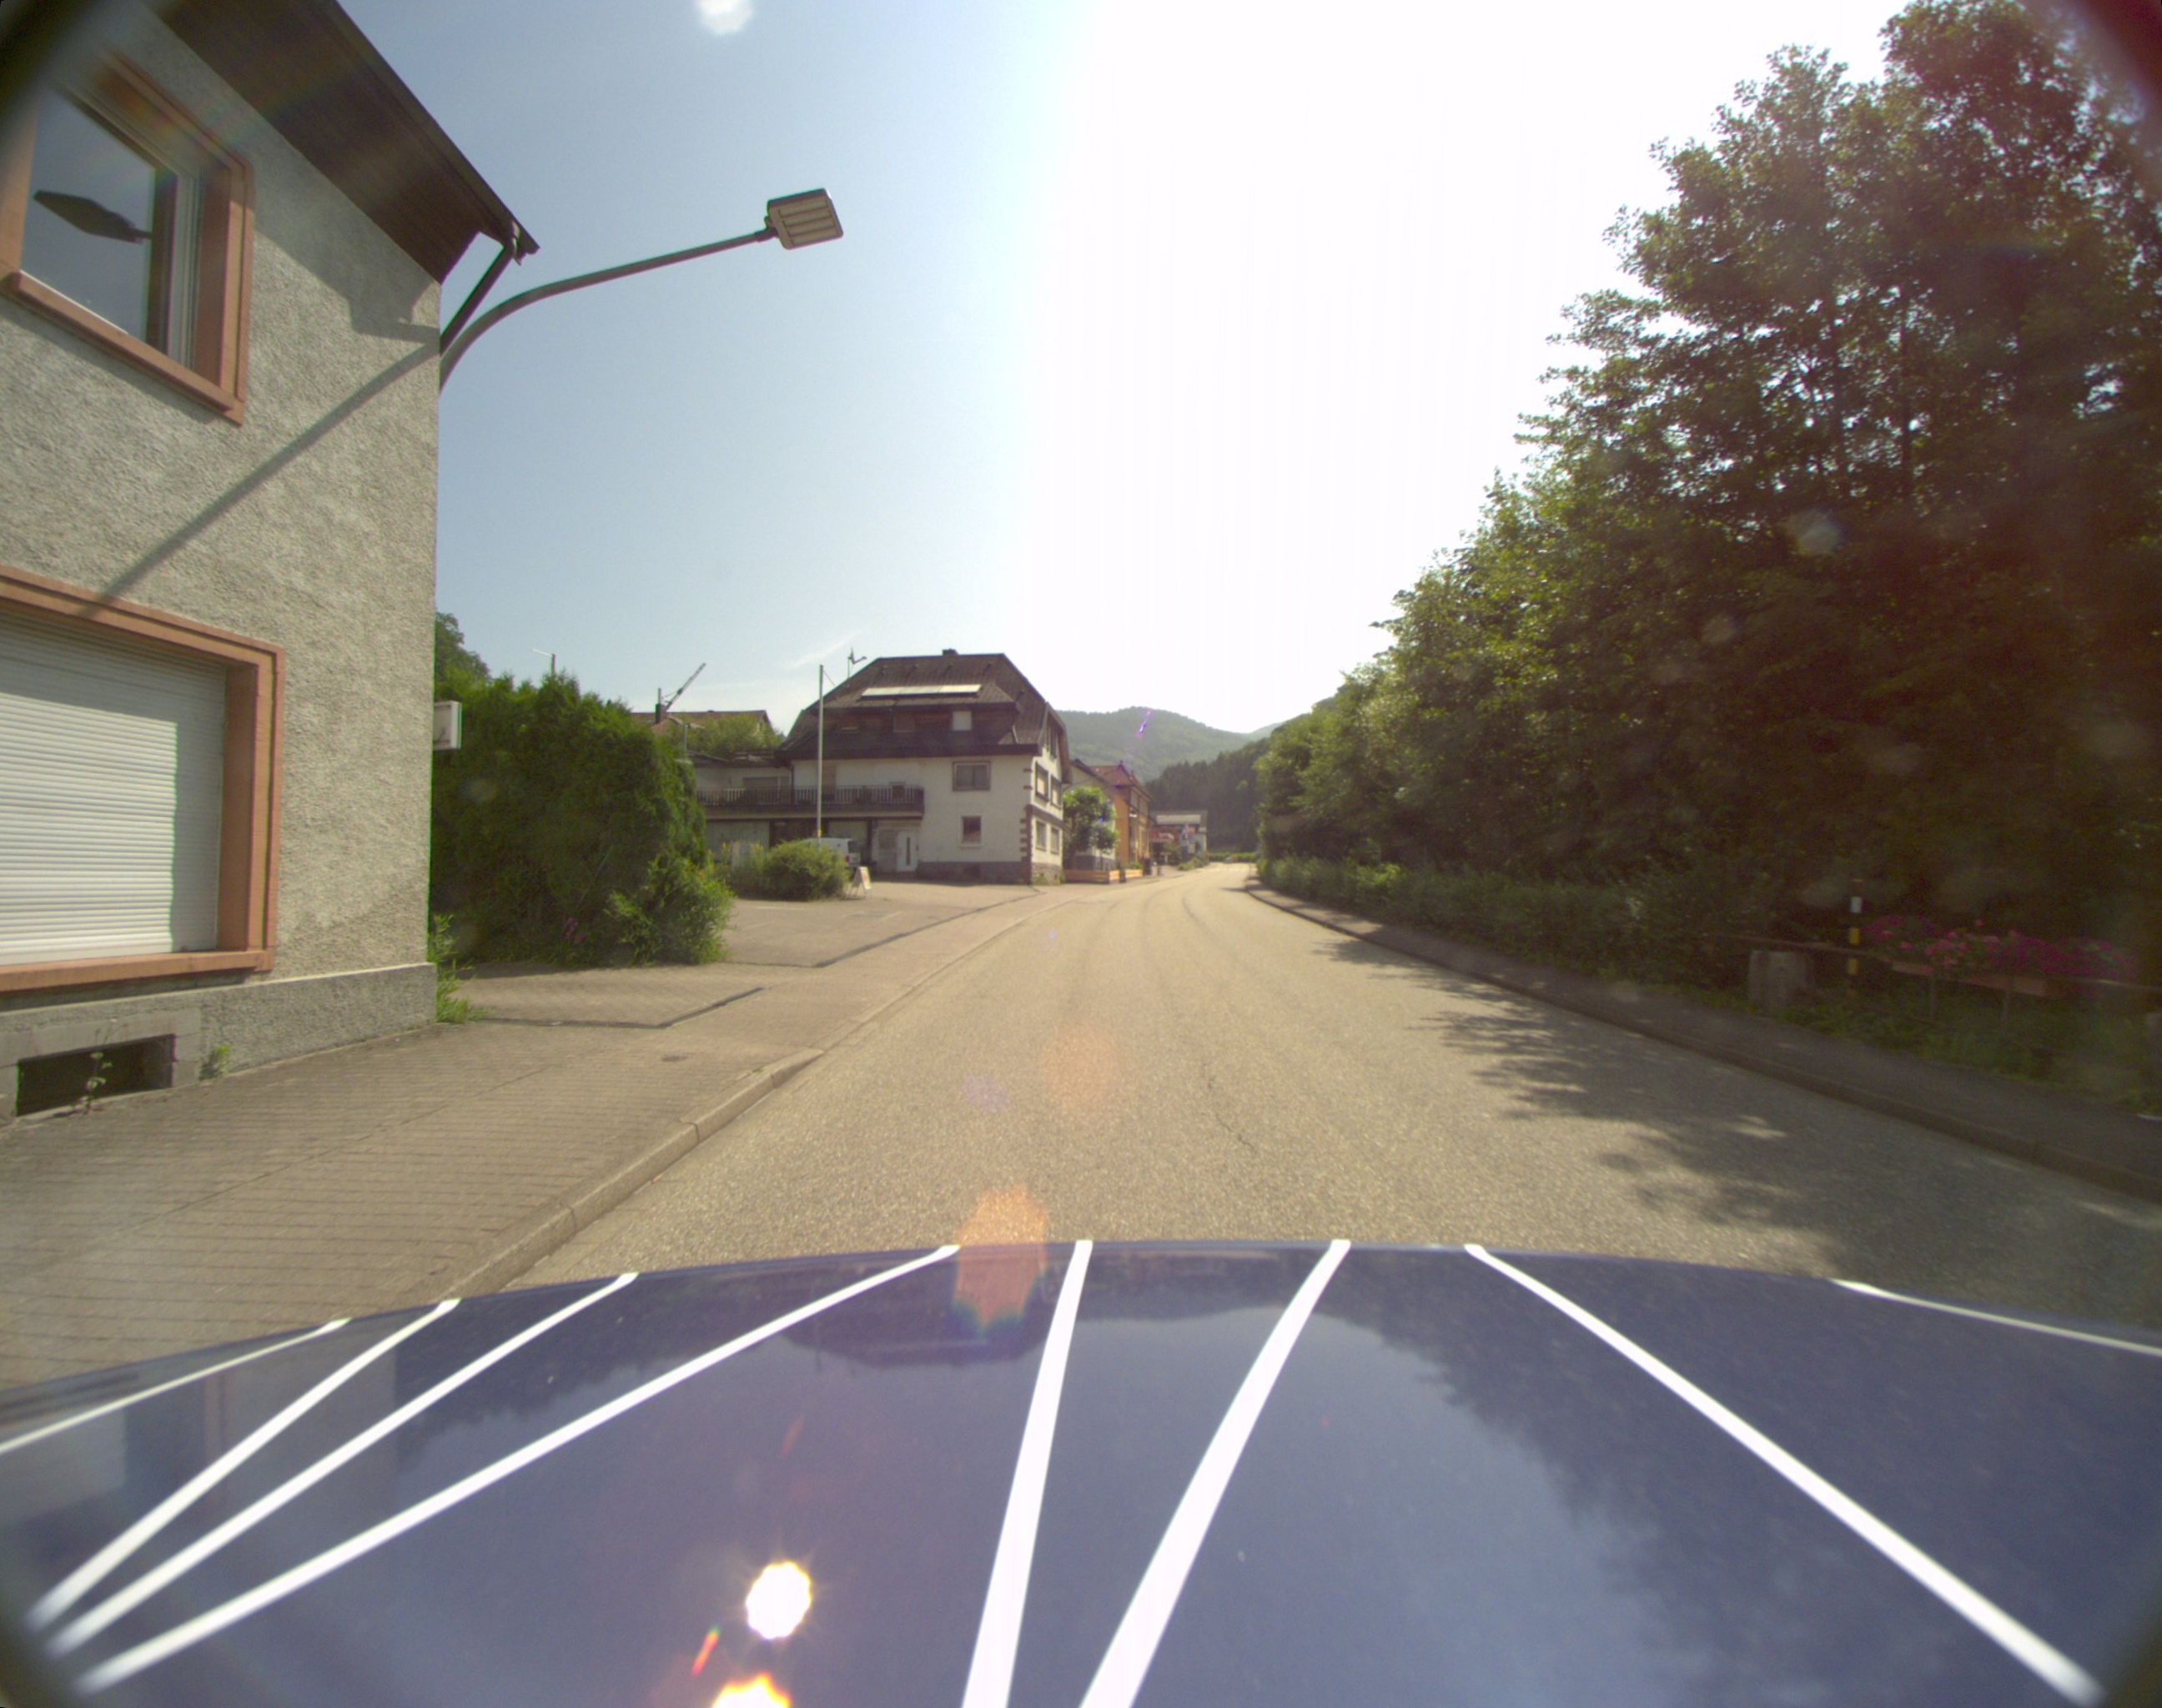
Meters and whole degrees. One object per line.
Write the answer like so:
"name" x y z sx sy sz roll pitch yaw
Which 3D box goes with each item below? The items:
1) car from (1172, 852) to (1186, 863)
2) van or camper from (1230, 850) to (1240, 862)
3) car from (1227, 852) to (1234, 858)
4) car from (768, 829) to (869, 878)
"car" 15.734 0.535 121.748 1.694 1.568 3.915 4 1 14
"van or camper" 40.860 0.492 201.524 2.361 2.936 8.060 1 0 13
"car" 37.882 0.273 192.489 1.592 1.474 3.761 1 0 15
"car" -12.217 -0.052 35.460 4.014 1.973 1.636 4 2 4
